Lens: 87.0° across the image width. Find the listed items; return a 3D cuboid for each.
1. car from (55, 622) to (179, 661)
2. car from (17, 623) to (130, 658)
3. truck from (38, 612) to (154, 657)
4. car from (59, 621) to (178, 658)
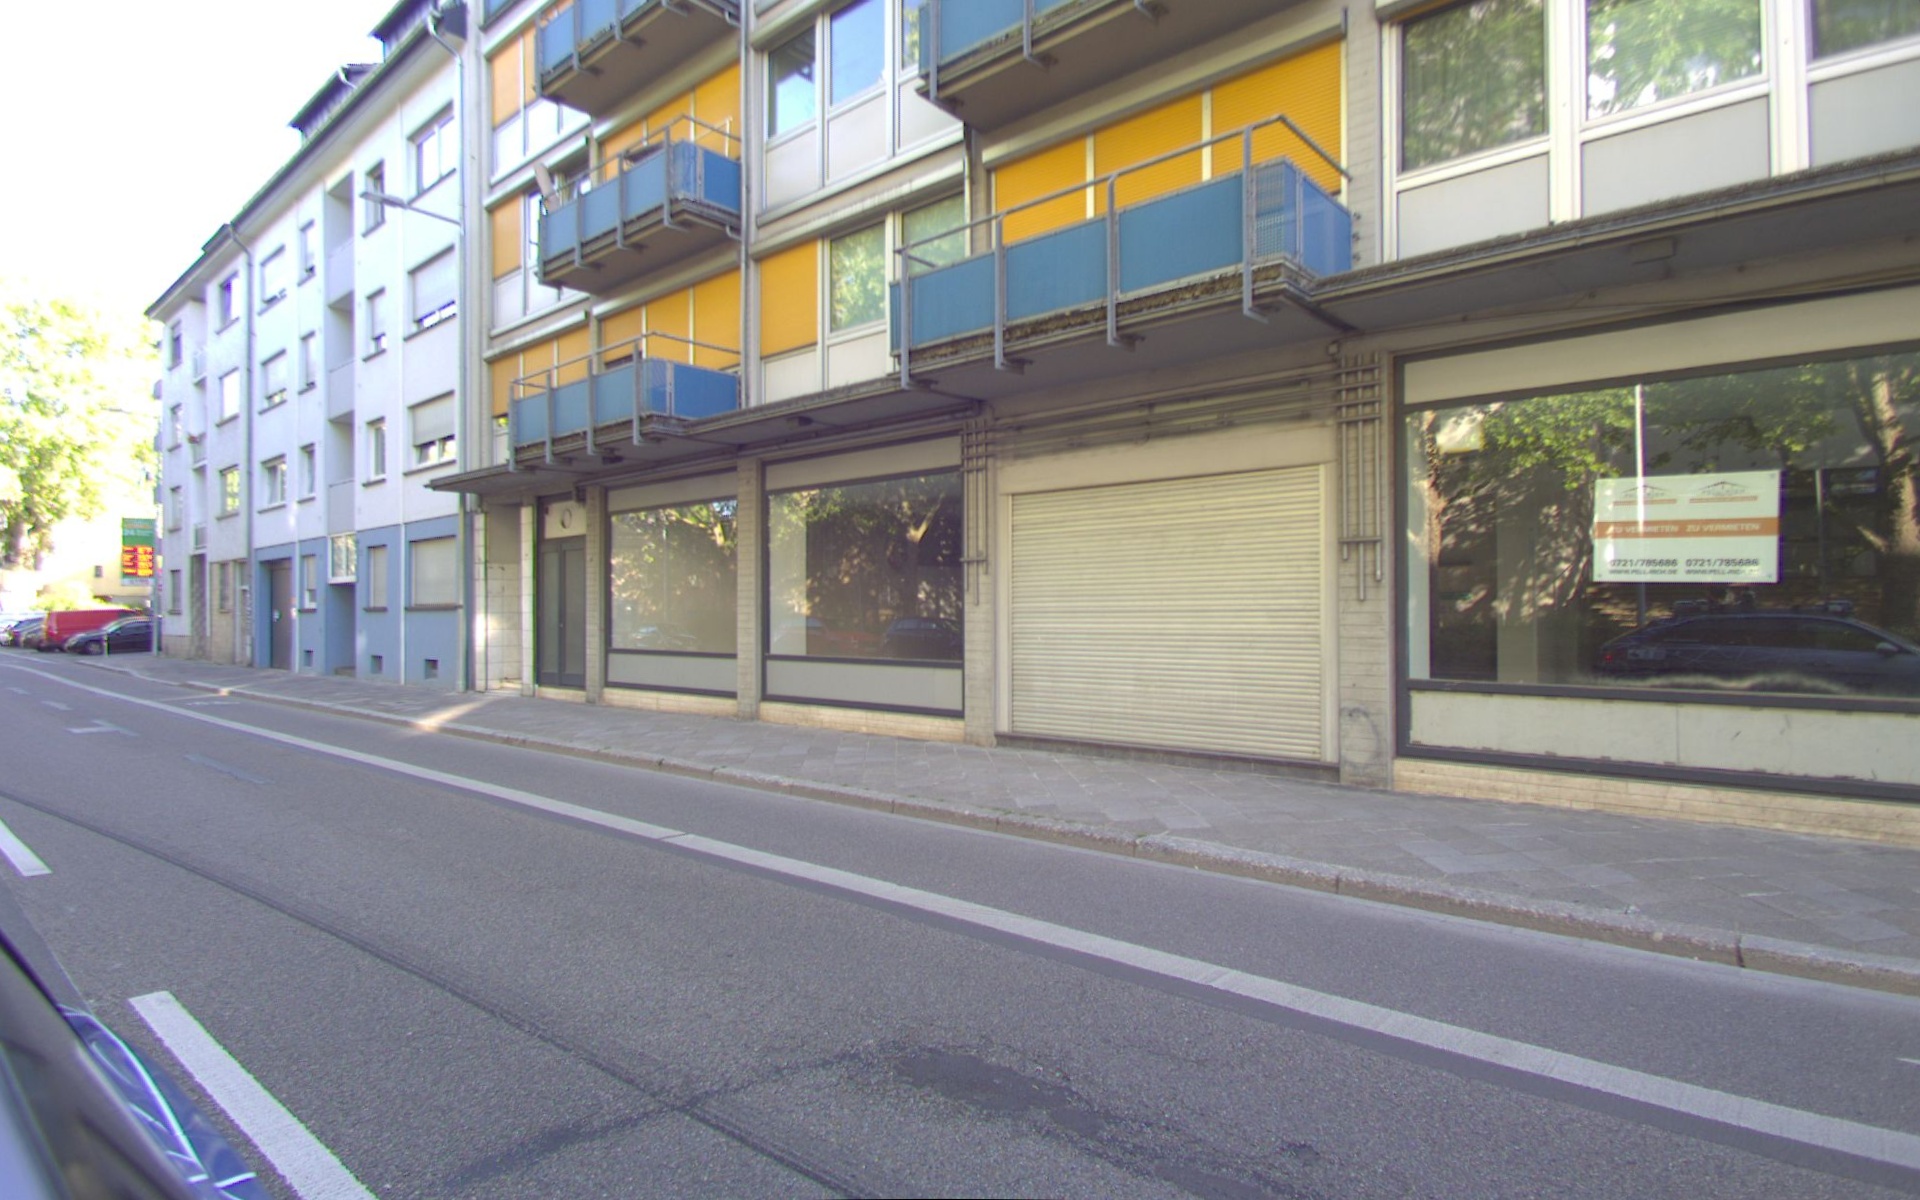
[{"bbox_3d":[-36.622,1.767,44.015,1.761,1.468,3.944,-1,0,42],"label":"car"},{"bbox_3d":[-42.904,1.908,49.042,1.761,1.514,3.944,-1,0,42],"label":"car"},{"bbox_3d":[-40.493,1.576,47.495,1.761,1.951,3.944,-1,0,42],"label":"truck"},{"bbox_3d":[-38.103,1.763,45.903,1.761,1.514,3.944,-1,0,42],"label":"car"}]
